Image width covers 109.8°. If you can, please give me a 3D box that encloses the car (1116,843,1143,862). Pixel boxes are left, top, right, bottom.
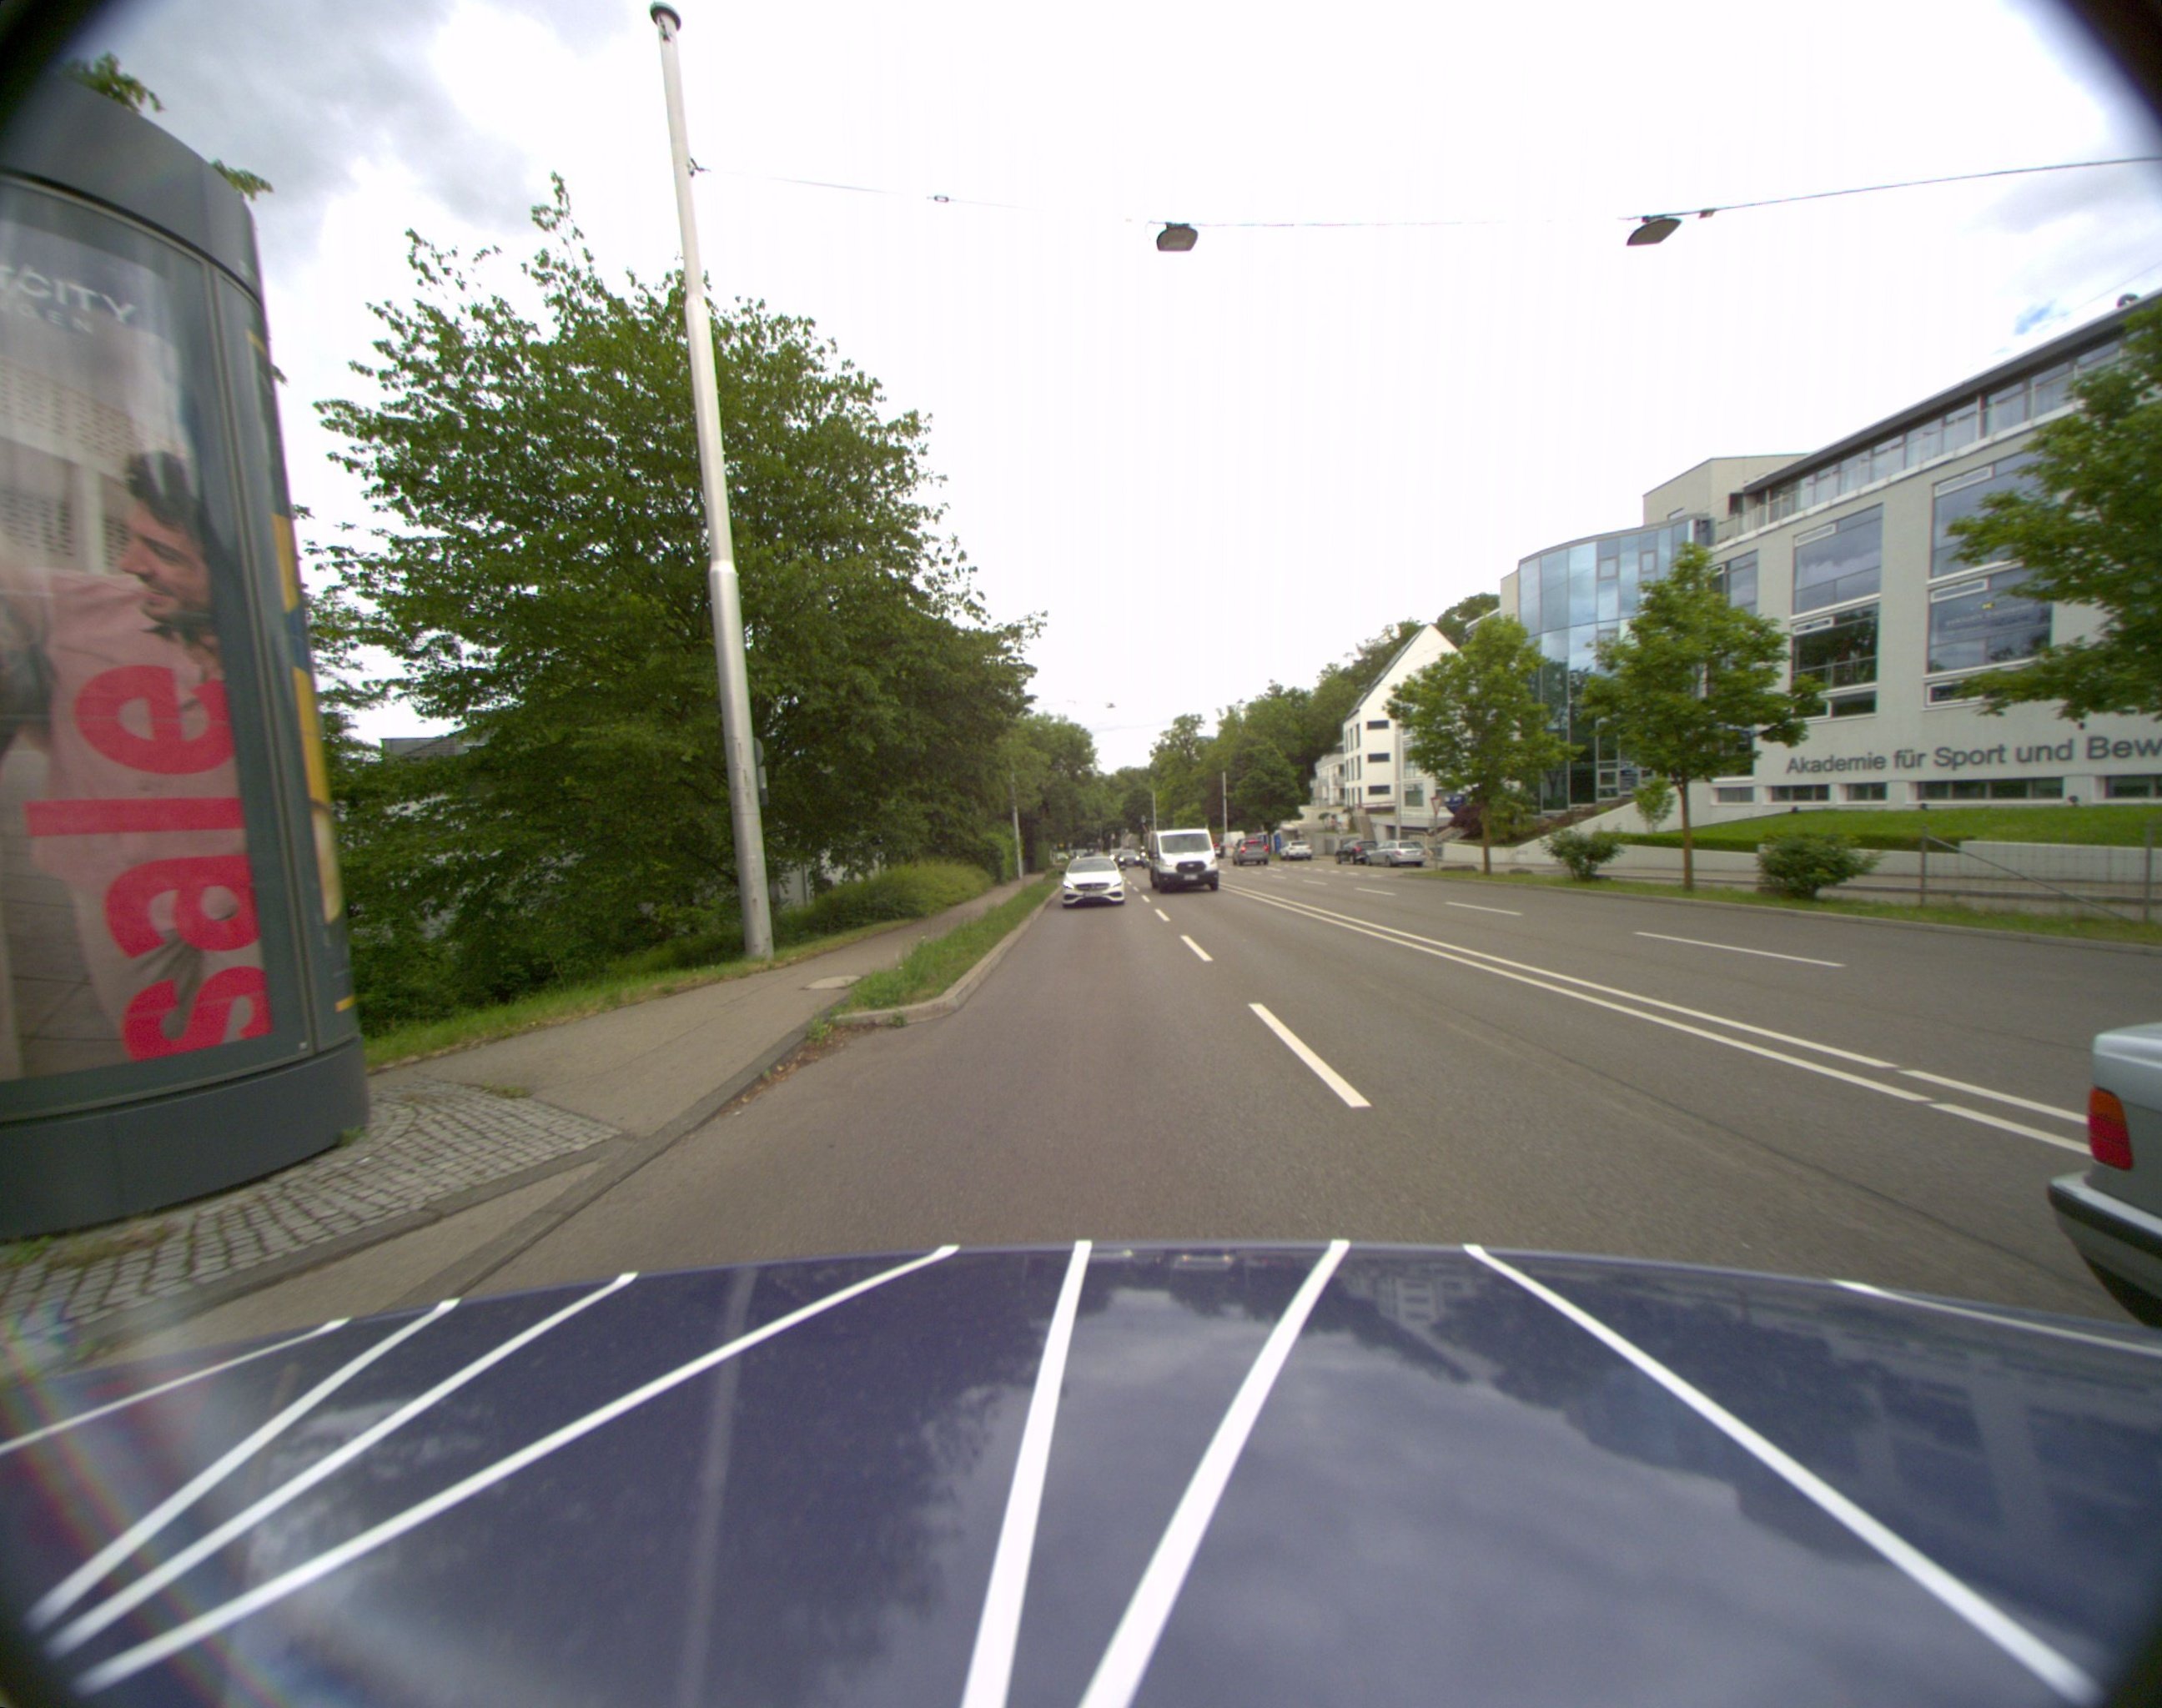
[{"bbox_3d":[4.211,-0.154,66.443,1.999,1.540,3.999,-3,1,0],"label":"car"}]

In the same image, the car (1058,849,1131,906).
[{"bbox_3d":[0.332,0.599,21.712,1.821,1.339,3.999,-3,1,-1],"label":"car"}]

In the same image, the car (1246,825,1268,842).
[{"bbox_3d":[19.758,-2.295,85.418,1.810,1.741,4.251,-4,1,5],"label":"car"}]

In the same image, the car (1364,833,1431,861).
[{"bbox_3d":[16.912,-0.410,40.801,1.677,1.420,4.416,0,1,-1],"label":"car"}]

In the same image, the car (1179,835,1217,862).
[{"bbox_3d":[7.491,-0.394,48.943,1.768,1.583,4.365,-3,1,2],"label":"car"}]

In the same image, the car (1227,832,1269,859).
[{"bbox_3d":[11.599,-0.616,53.021,1.768,1.699,4.869,-3,1,-1],"label":"car"}]

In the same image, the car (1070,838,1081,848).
[{"bbox_3d":[-1.165,-2.332,160.904,2.000,1.881,3.997,-2,1,-7],"label":"car"}]

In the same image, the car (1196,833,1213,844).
[{"bbox_3d":[17.422,-2.111,107.034,1.582,1.434,3.293,-3,1,-4],"label":"car"}]

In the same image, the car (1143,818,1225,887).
[{"bbox_3d":[3.597,-0.080,27.790,1.999,2.161,6.267,-3,1,0],"label":"car"}]

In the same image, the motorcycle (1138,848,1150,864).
[{"bbox_3d":[4.728,0.147,56.913,0.574,1.121,2.295,-5,1,-2],"label":"motorcycle"}]

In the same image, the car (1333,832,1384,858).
[{"bbox_3d":[16.838,-0.567,46.256,1.677,1.420,4.089,-2,1,2],"label":"car"}]

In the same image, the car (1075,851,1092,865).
[{"bbox_3d":[0.330,0.520,104.668,1.999,1.647,4.434,-3,1,-3],"label":"car"}]

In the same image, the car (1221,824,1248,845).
[{"bbox_3d":[20.183,-2.525,100.380,1.999,2.512,6.532,-4,1,-1],"label":"car"}]

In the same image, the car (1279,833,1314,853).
[{"bbox_3d":[16.566,-0.858,58.584,1.672,1.495,4.238,-2,1,3],"label":"car"}]

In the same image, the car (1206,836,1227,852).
[{"bbox_3d":[13.962,-1.041,78.637,1.804,1.533,3.923,-3,1,6],"label":"car"}]

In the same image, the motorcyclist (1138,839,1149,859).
[{"bbox_3d":[4.683,-0.359,56.998,0.619,1.463,0.930,-5,1,-2],"label":"motorcyclist"}]

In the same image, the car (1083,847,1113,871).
[{"bbox_3d":[1.099,0.321,50.423,1.734,1.403,3.999,-3,1,-1],"label":"car"}]
